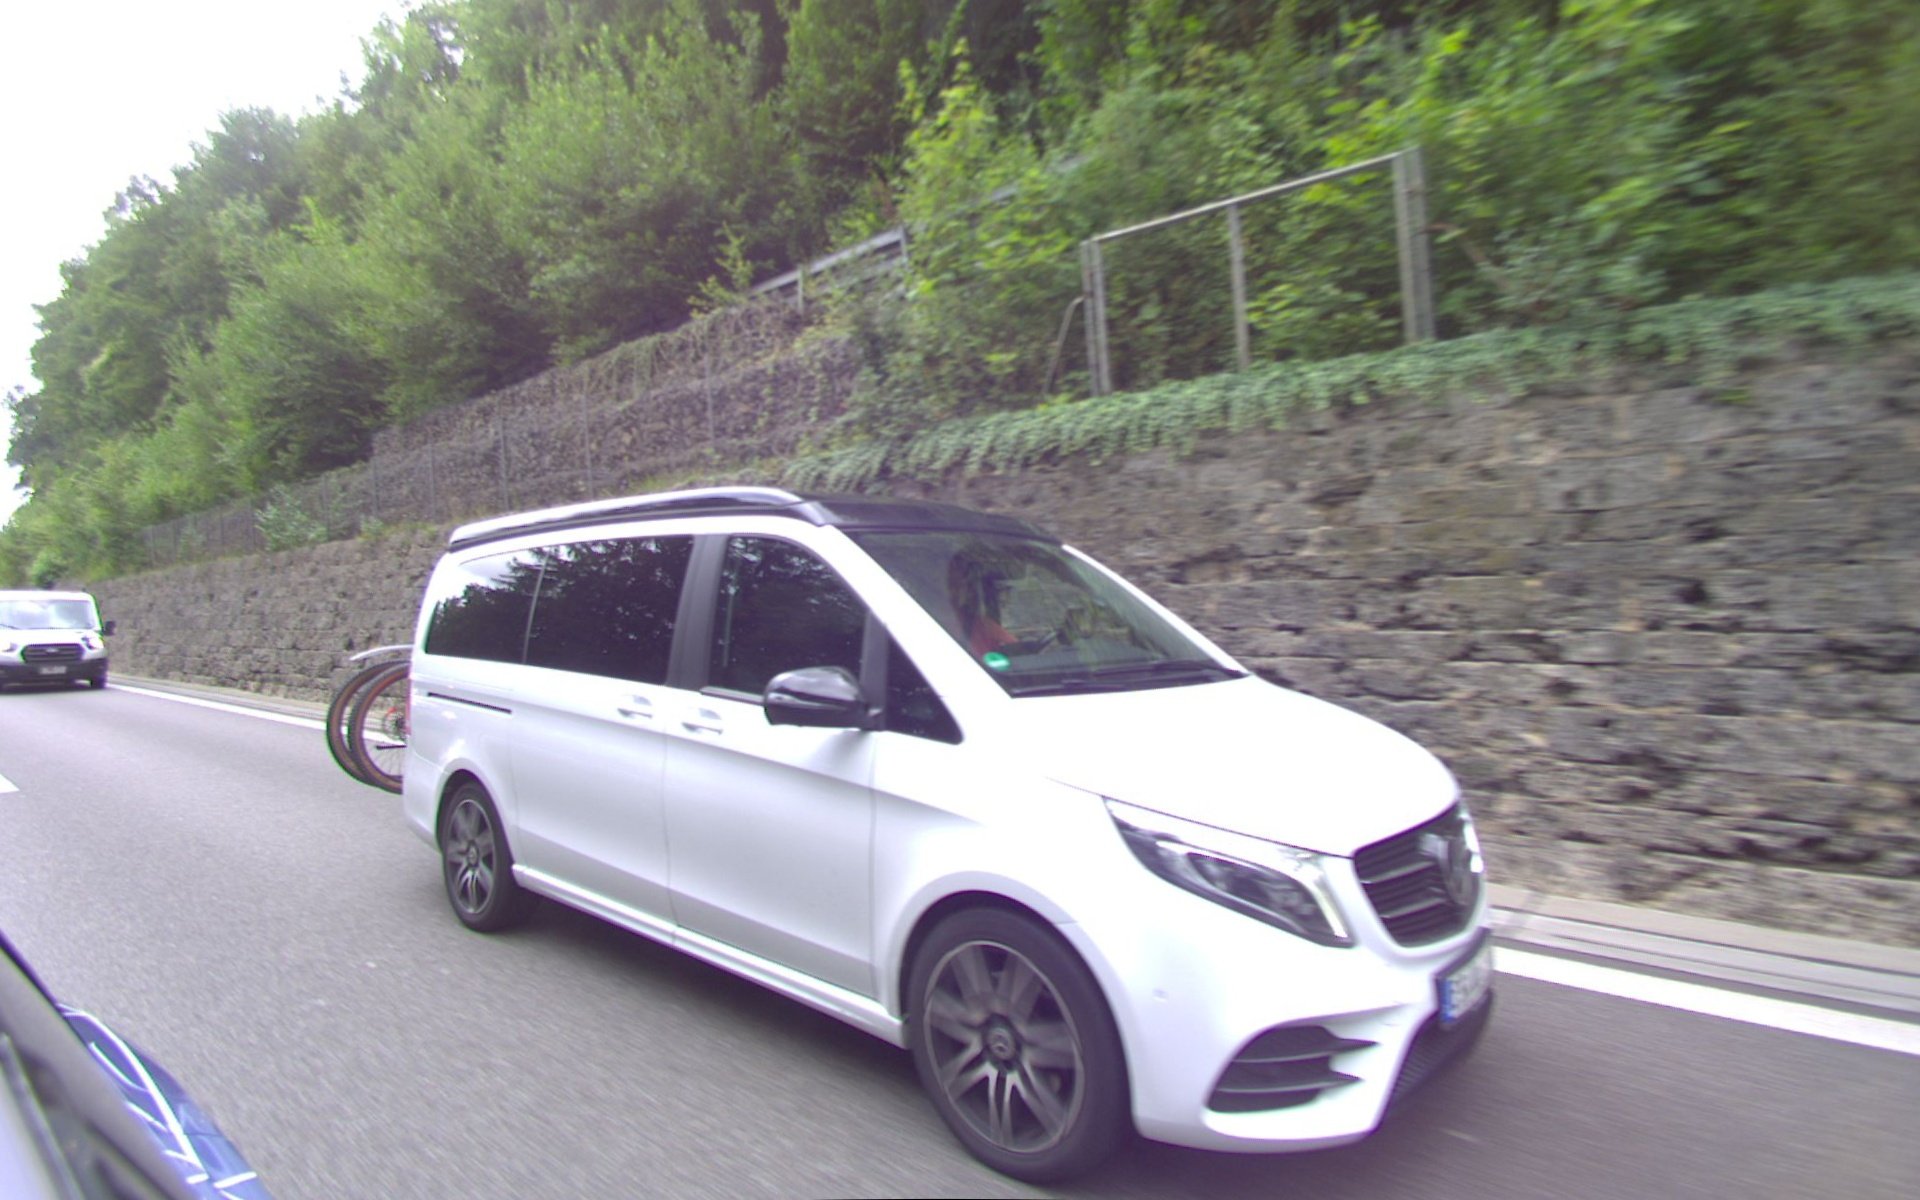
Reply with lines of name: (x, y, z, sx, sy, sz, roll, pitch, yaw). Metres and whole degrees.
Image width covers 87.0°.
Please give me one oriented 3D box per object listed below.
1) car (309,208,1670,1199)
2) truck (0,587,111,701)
car: (-0.714, 0.364, 4.487, 6.143, 1.967, 1.973, -2, 0, 41)
truck: (-21.497, 0.961, 23.286, 6.582, 2.297, 1.973, -2, 0, 41)
